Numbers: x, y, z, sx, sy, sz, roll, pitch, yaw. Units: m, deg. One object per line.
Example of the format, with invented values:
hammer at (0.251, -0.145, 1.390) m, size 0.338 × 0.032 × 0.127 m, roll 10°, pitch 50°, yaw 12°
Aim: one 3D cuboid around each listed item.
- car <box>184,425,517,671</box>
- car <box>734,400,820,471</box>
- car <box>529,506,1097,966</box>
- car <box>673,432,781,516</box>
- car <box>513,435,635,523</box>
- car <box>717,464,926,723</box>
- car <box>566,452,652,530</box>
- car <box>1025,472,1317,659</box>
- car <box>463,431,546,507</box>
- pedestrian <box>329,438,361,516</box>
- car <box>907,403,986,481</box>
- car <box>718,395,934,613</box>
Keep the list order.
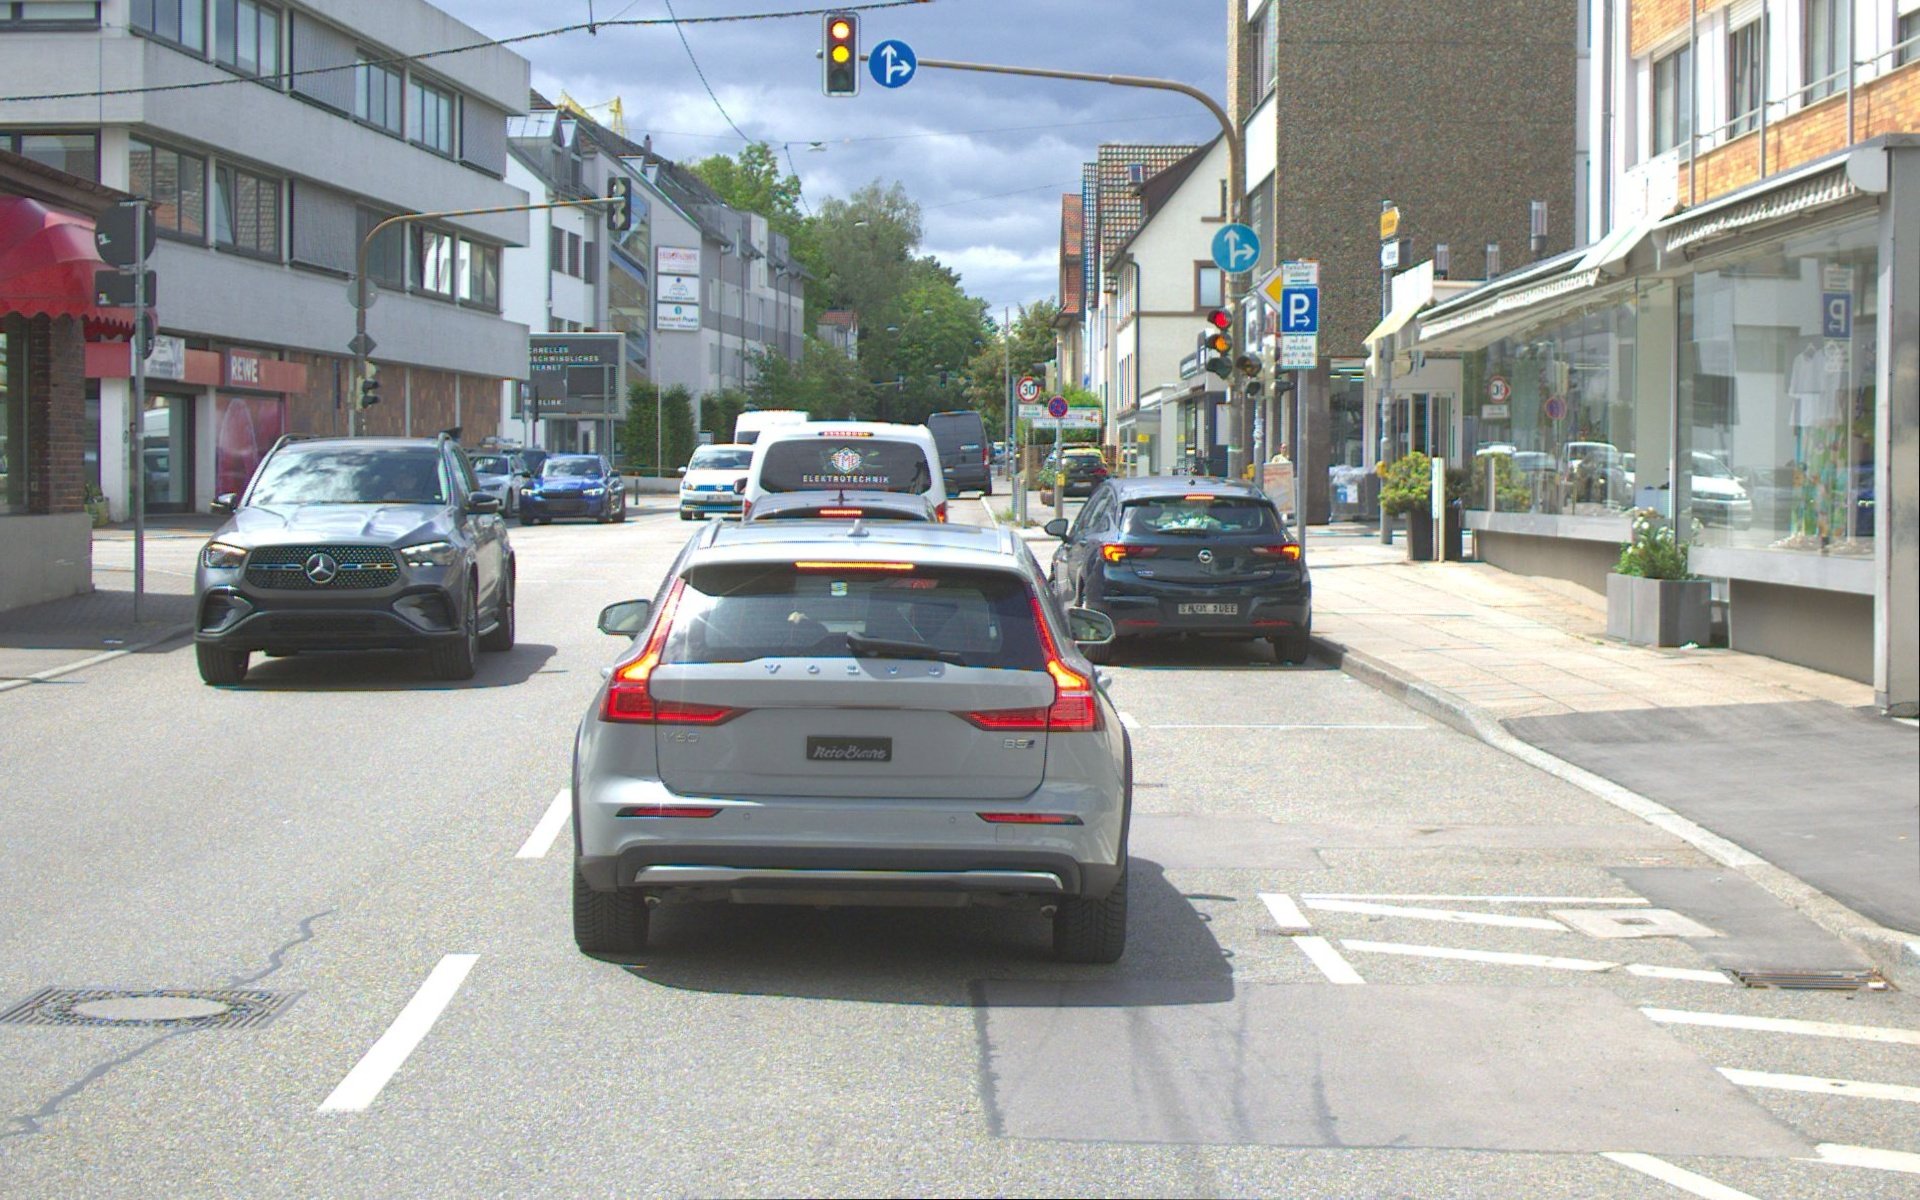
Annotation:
car at (-4.542, -0.394, 26.230) m, size 1.839 × 1.720 × 4.352 m, roll 0°, pitch 1°, yaw -1°
car at (-4.729, -4.258, 89.262) m, size 1.873 × 1.634 × 4.000 m, roll 0°, pitch 0°, yaw 2°
car at (-0.462, 0.397, 12.573) m, size 1.744 × 1.412 × 4.000 m, roll 0°, pitch 1°, yaw 0°
car at (-5.021, -2.715, 74.504) m, size 1.873 × 1.634 × 4.000 m, roll 2°, pitch 0°, yaw 2°
car at (-7.945, -2.480, 71.011) m, size 1.873 × 1.634 × 4.000 m, roll 2°, pitch 0°, yaw 2°
car at (-0.869, -0.098, 22.582) m, size 1.273 × 1.522 × 3.051 m, roll 0°, pitch 3°, yaw -1°
car at (-9.777, -3.008, 95.988) m, size 1.993 × 2.007 × 4.000 m, roll 2°, pitch 0°, yaw -1°
car at (1.653, -0.333, 28.306) m, size 1.752 × 1.366 × 4.001 m, roll 1°, pitch 3°, yaw -6°
car at (-10.074, -2.877, 76.184) m, size 1.384 × 1.535 × 3.399 m, roll 0°, pitch 0°, yaw 0°
pedestrian at (-11.417, -2.279, 63.841) m, size 0.514 × 1.431 × 0.490 m, roll 0°, pitch 1°, yaw -19°
car at (-0.448, -5.129, 112.275) m, size 2.436 × 2.310 × 5.327 m, roll 2°, pitch 1°, yaw 0°
car at (-1.178, -0.852, 31.790) m, size 1.836 × 1.855 × 3.850 m, roll 1°, pitch 0°, yaw 0°
